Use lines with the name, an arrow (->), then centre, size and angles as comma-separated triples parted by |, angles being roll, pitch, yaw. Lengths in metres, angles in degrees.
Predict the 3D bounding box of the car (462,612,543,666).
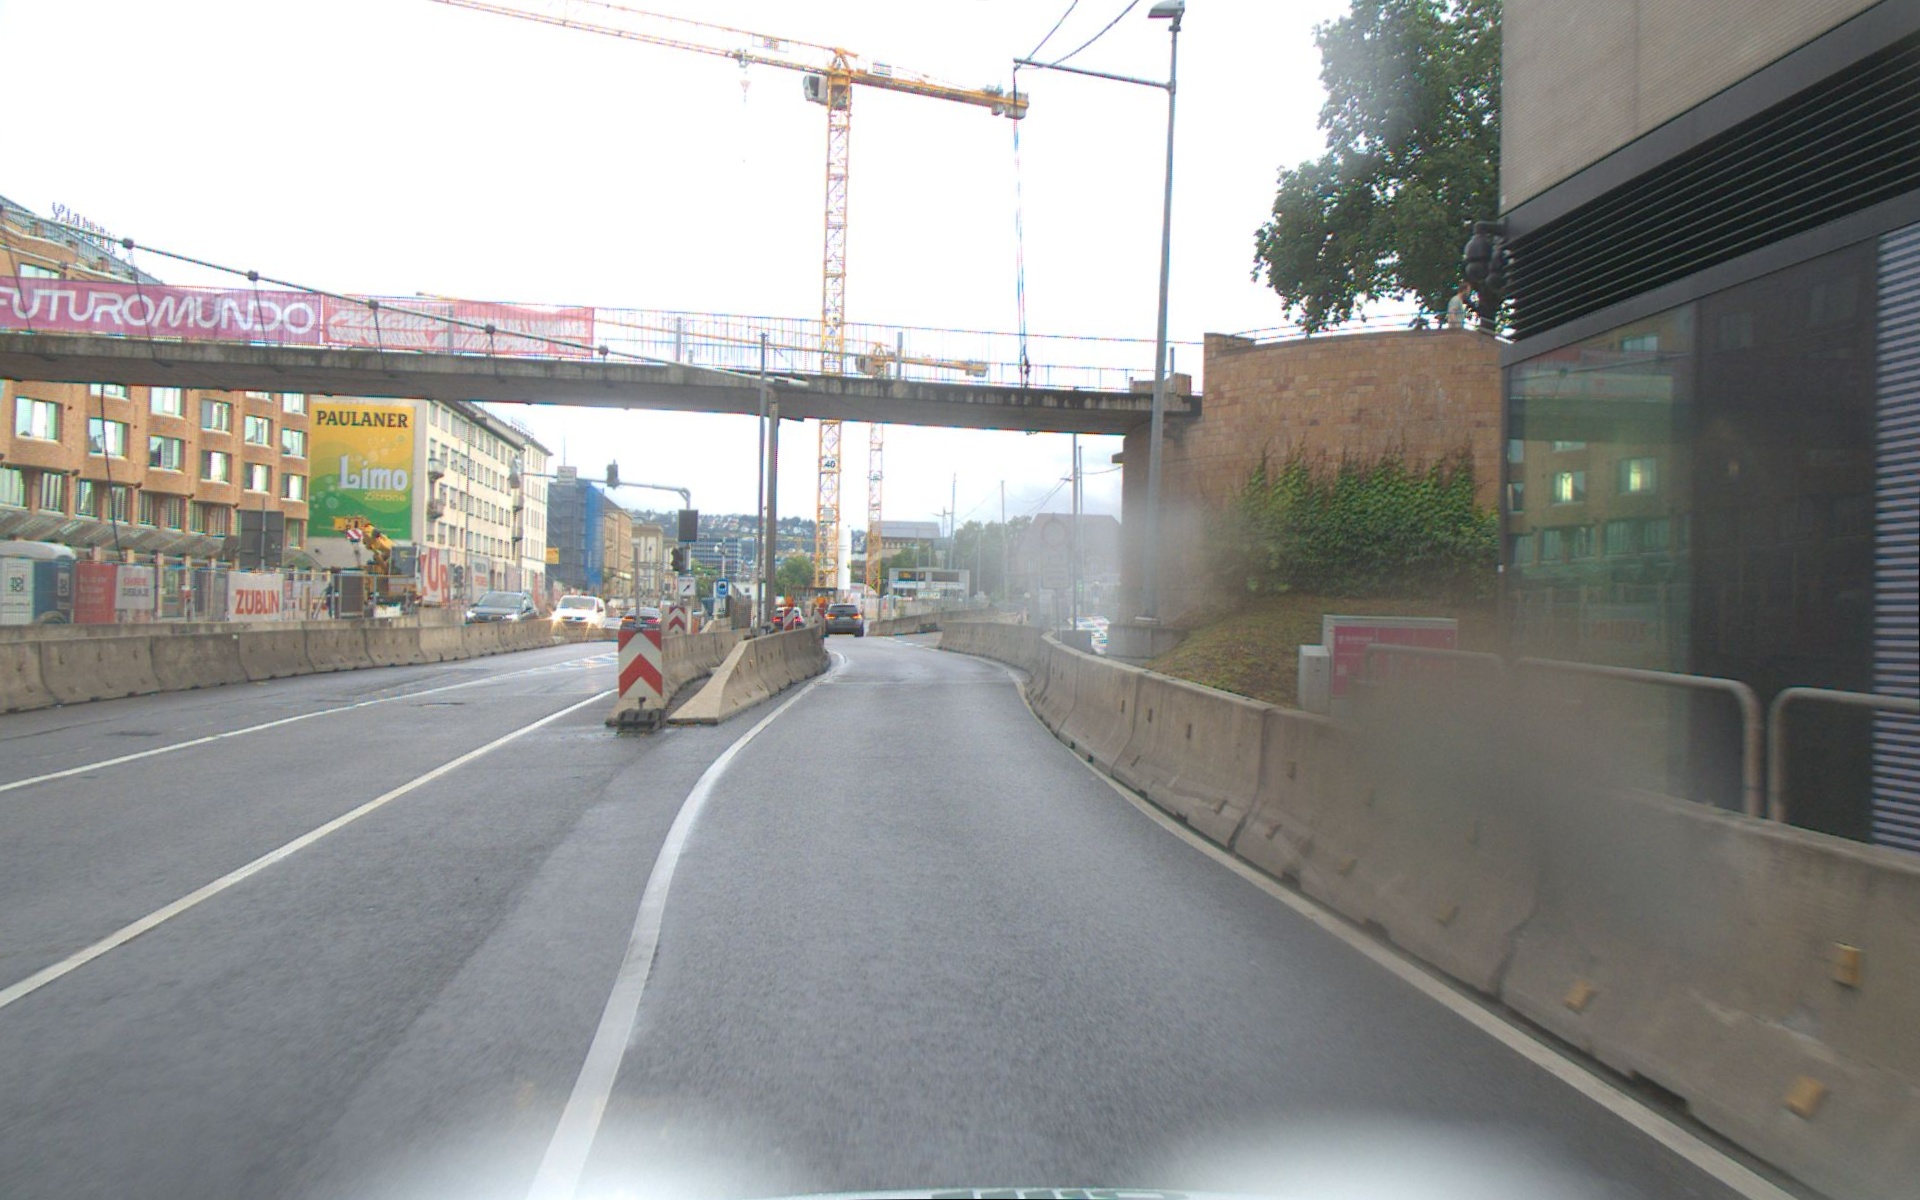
car -> -15.216, 1.259, 55.165 | 1.769, 1.651, 3.901 | 1, 1, -3

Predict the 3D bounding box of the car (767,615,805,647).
car -> -9.716, 1.704, 92.543 | 1.826, 1.690, 4.653 | 1, -1, -3

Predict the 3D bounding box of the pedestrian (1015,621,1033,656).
pedestrian -> 3.405, 2.045, 87.499 | 0.680, 1.809, 0.809 | 1, -2, -23

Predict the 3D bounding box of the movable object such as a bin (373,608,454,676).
movable object such as a bin -> -19.977, 1.526, 60.598 | 1.989, 2.317, 4.285 | -2, -1, -8

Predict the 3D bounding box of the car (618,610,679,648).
car -> -12.743, 1.190, 67.956 | 1.826, 1.469, 4.653 | 1, -1, -3

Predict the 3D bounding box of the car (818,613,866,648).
car -> -5.263, 1.326, 73.245 | 1.828, 1.458, 4.647 | 1, -1, -8

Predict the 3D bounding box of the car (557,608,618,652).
car -> -16.654, 1.304, 74.219 | 1.770, 1.853, 5.297 | 1, 0, -3
